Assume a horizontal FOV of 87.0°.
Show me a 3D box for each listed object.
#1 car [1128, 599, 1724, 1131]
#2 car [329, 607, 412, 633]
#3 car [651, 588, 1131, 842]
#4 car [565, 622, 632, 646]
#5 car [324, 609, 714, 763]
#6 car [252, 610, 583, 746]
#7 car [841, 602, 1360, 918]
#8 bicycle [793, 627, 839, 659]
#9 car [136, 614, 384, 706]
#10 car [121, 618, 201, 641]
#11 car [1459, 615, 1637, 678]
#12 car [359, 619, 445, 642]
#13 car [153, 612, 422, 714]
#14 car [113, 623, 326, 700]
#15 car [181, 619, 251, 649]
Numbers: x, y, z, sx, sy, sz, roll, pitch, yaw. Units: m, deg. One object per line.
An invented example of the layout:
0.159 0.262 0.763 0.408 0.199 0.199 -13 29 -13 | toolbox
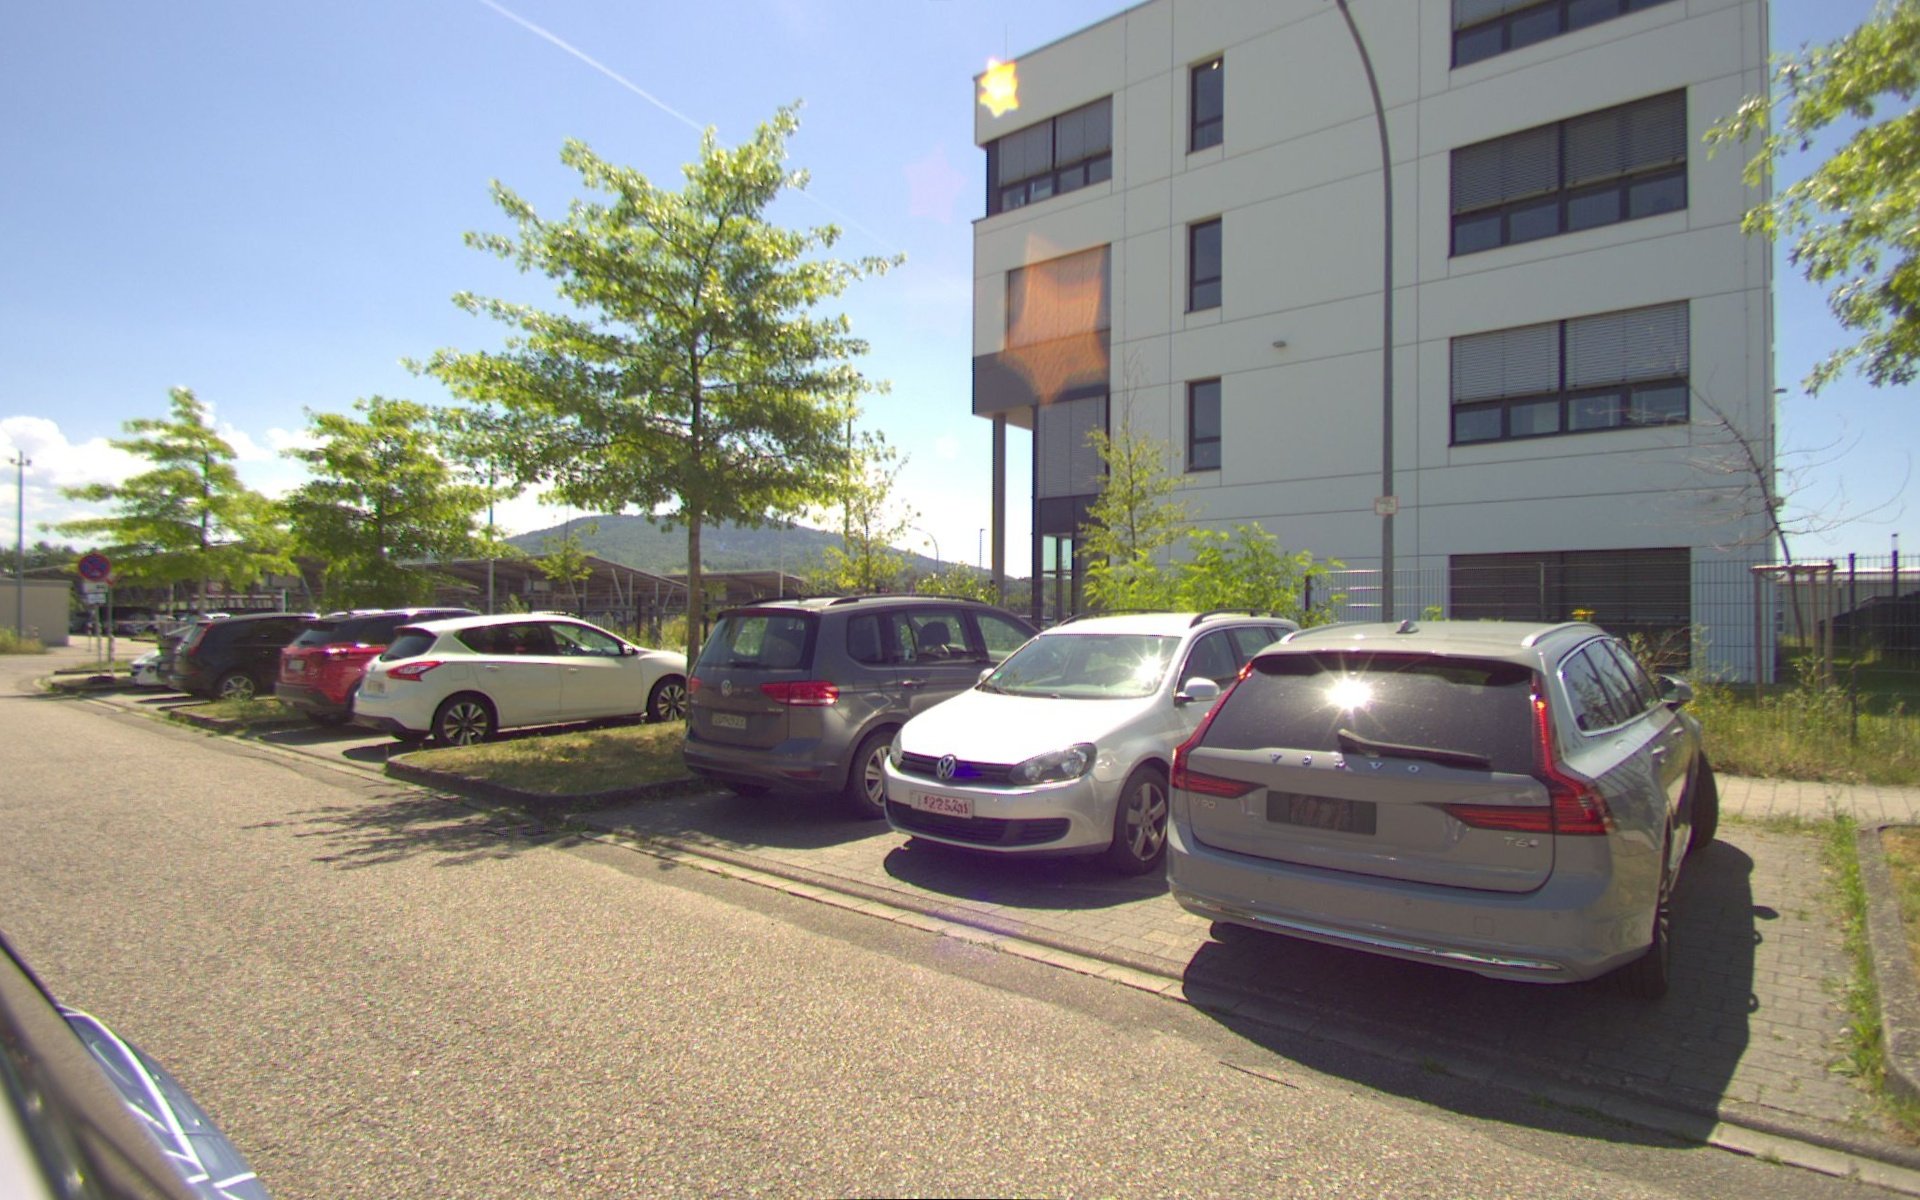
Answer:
2.811 0.762 5.299 1.854 1.458 4.669 -1 0 37 | car
-33.986 1.195 58.411 1.720 1.447 3.729 -1 -2 36 | car
-0.372 0.750 8.730 1.727 1.647 4.074 -1 0 42 | car
-22.975 2.145 64.392 1.720 1.447 3.729 -1 -2 36 | car
-5.401 0.949 12.799 1.806 1.524 4.128 -3 -1 42 | car
-7.604 0.986 14.470 1.725 1.604 3.802 -1 0 38 | car
1.287 0.799 7.153 1.725 1.484 4.270 -1 0 38 | car
-4.583 1.356 32.253 0.461 0.989 1.576 -1 -2 38 | bicycle
-14.203 1.149 20.696 1.826 1.605 3.803 -1 0 37 | car
-51.636 1.915 65.457 1.720 1.447 3.729 -1 -2 36 | car
16.115 1.248 27.837 3.996 1.614 1.758 -1 -2 39 | car
-30.066 1.645 54.620 1.720 1.237 3.729 -1 -2 36 | car
-12.354 1.081 18.745 1.728 1.604 3.863 -1 0 44 | car
-16.223 1.280 22.271 1.726 1.452 3.469 -1 0 40 | car
-36.350 1.640 49.408 3.769 1.447 1.702 -1 -2 36 | car
